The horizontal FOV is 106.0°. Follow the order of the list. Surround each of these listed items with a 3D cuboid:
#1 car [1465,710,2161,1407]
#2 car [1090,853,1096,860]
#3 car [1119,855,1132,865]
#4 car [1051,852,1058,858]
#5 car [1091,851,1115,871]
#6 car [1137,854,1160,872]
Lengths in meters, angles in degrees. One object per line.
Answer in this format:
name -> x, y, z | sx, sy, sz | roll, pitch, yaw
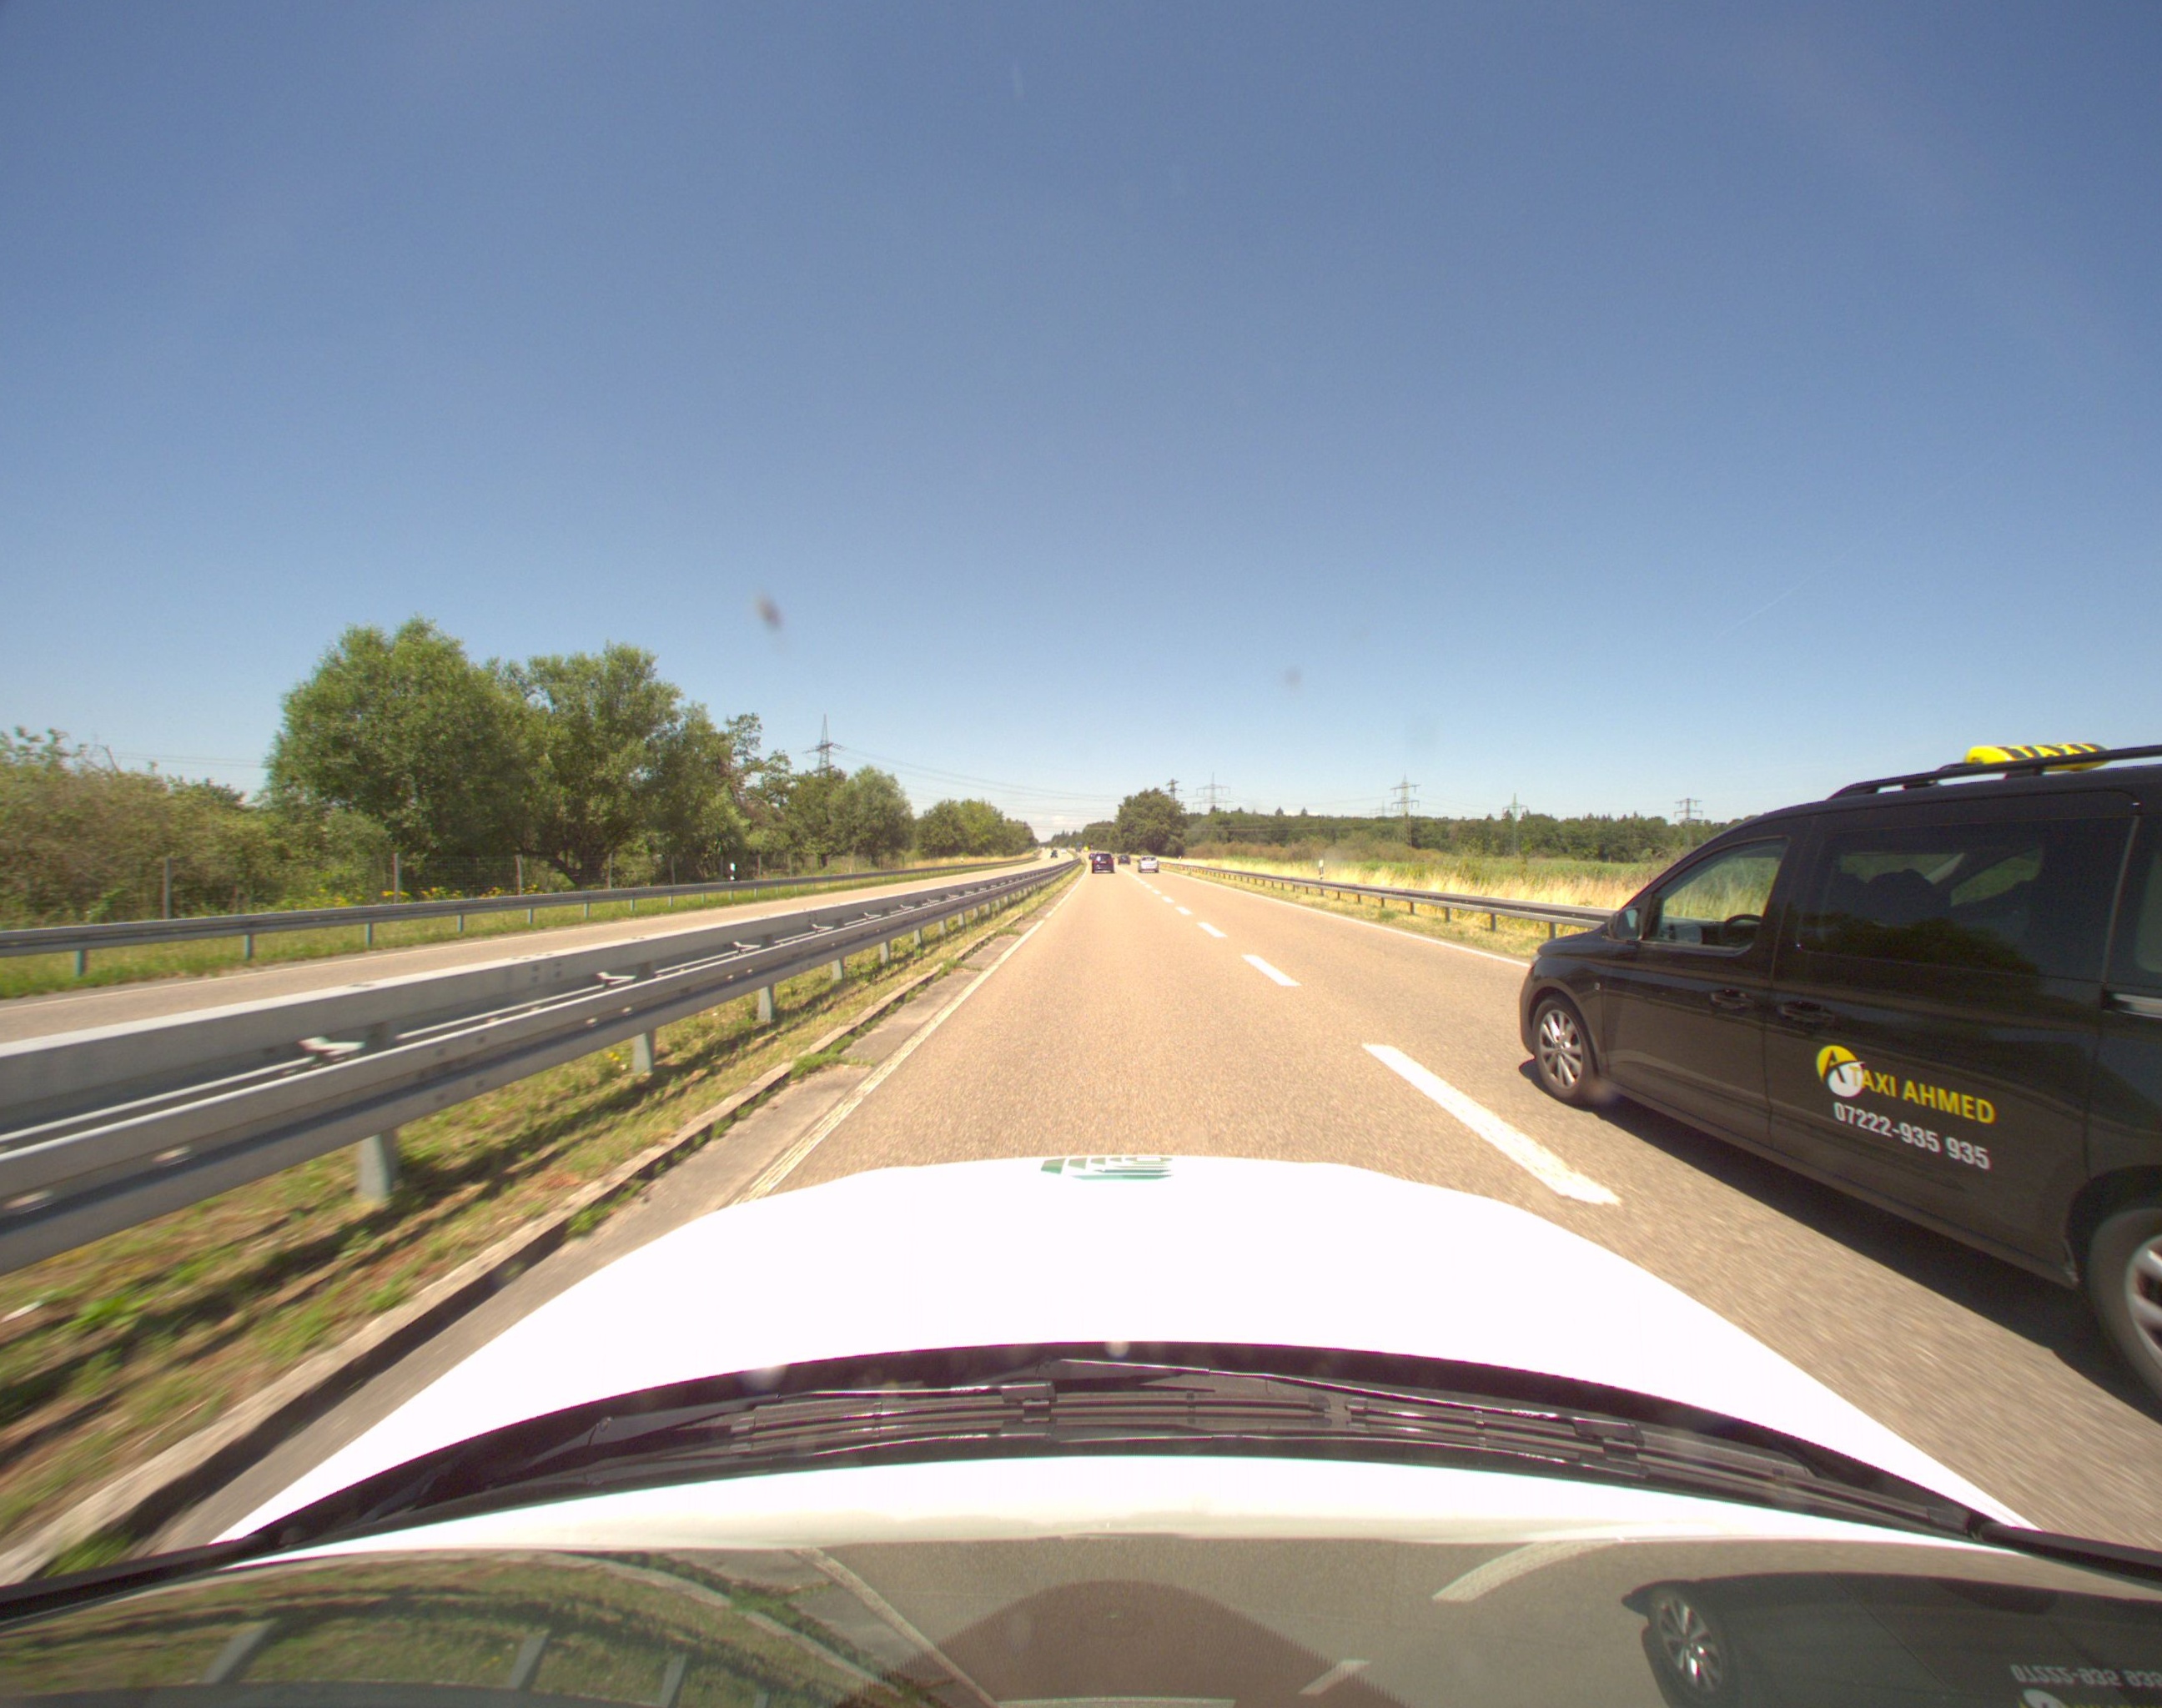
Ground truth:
car -> 3.748, 0.537, 4.048 | 1.773, 1.817, 4.214 | 0, 0, 1
car -> 2.749, 0.537, 188.177 | 1.510, 1.475, 3.065 | 1, 0, 0
car -> 6.505, 0.874, 120.333 | 1.812, 1.414, 4.002 | 1, 0, 2
car -> -7.286, 0.263, 221.403 | 1.826, 1.475, 3.683 | -1, 0, -1
car -> 1.891, 0.554, 69.727 | 1.986, 1.654, 4.002 | 1, 0, 2
car -> 5.857, 0.727, 70.760 | 1.772, 1.479, 4.317 | 1, 0, 2
